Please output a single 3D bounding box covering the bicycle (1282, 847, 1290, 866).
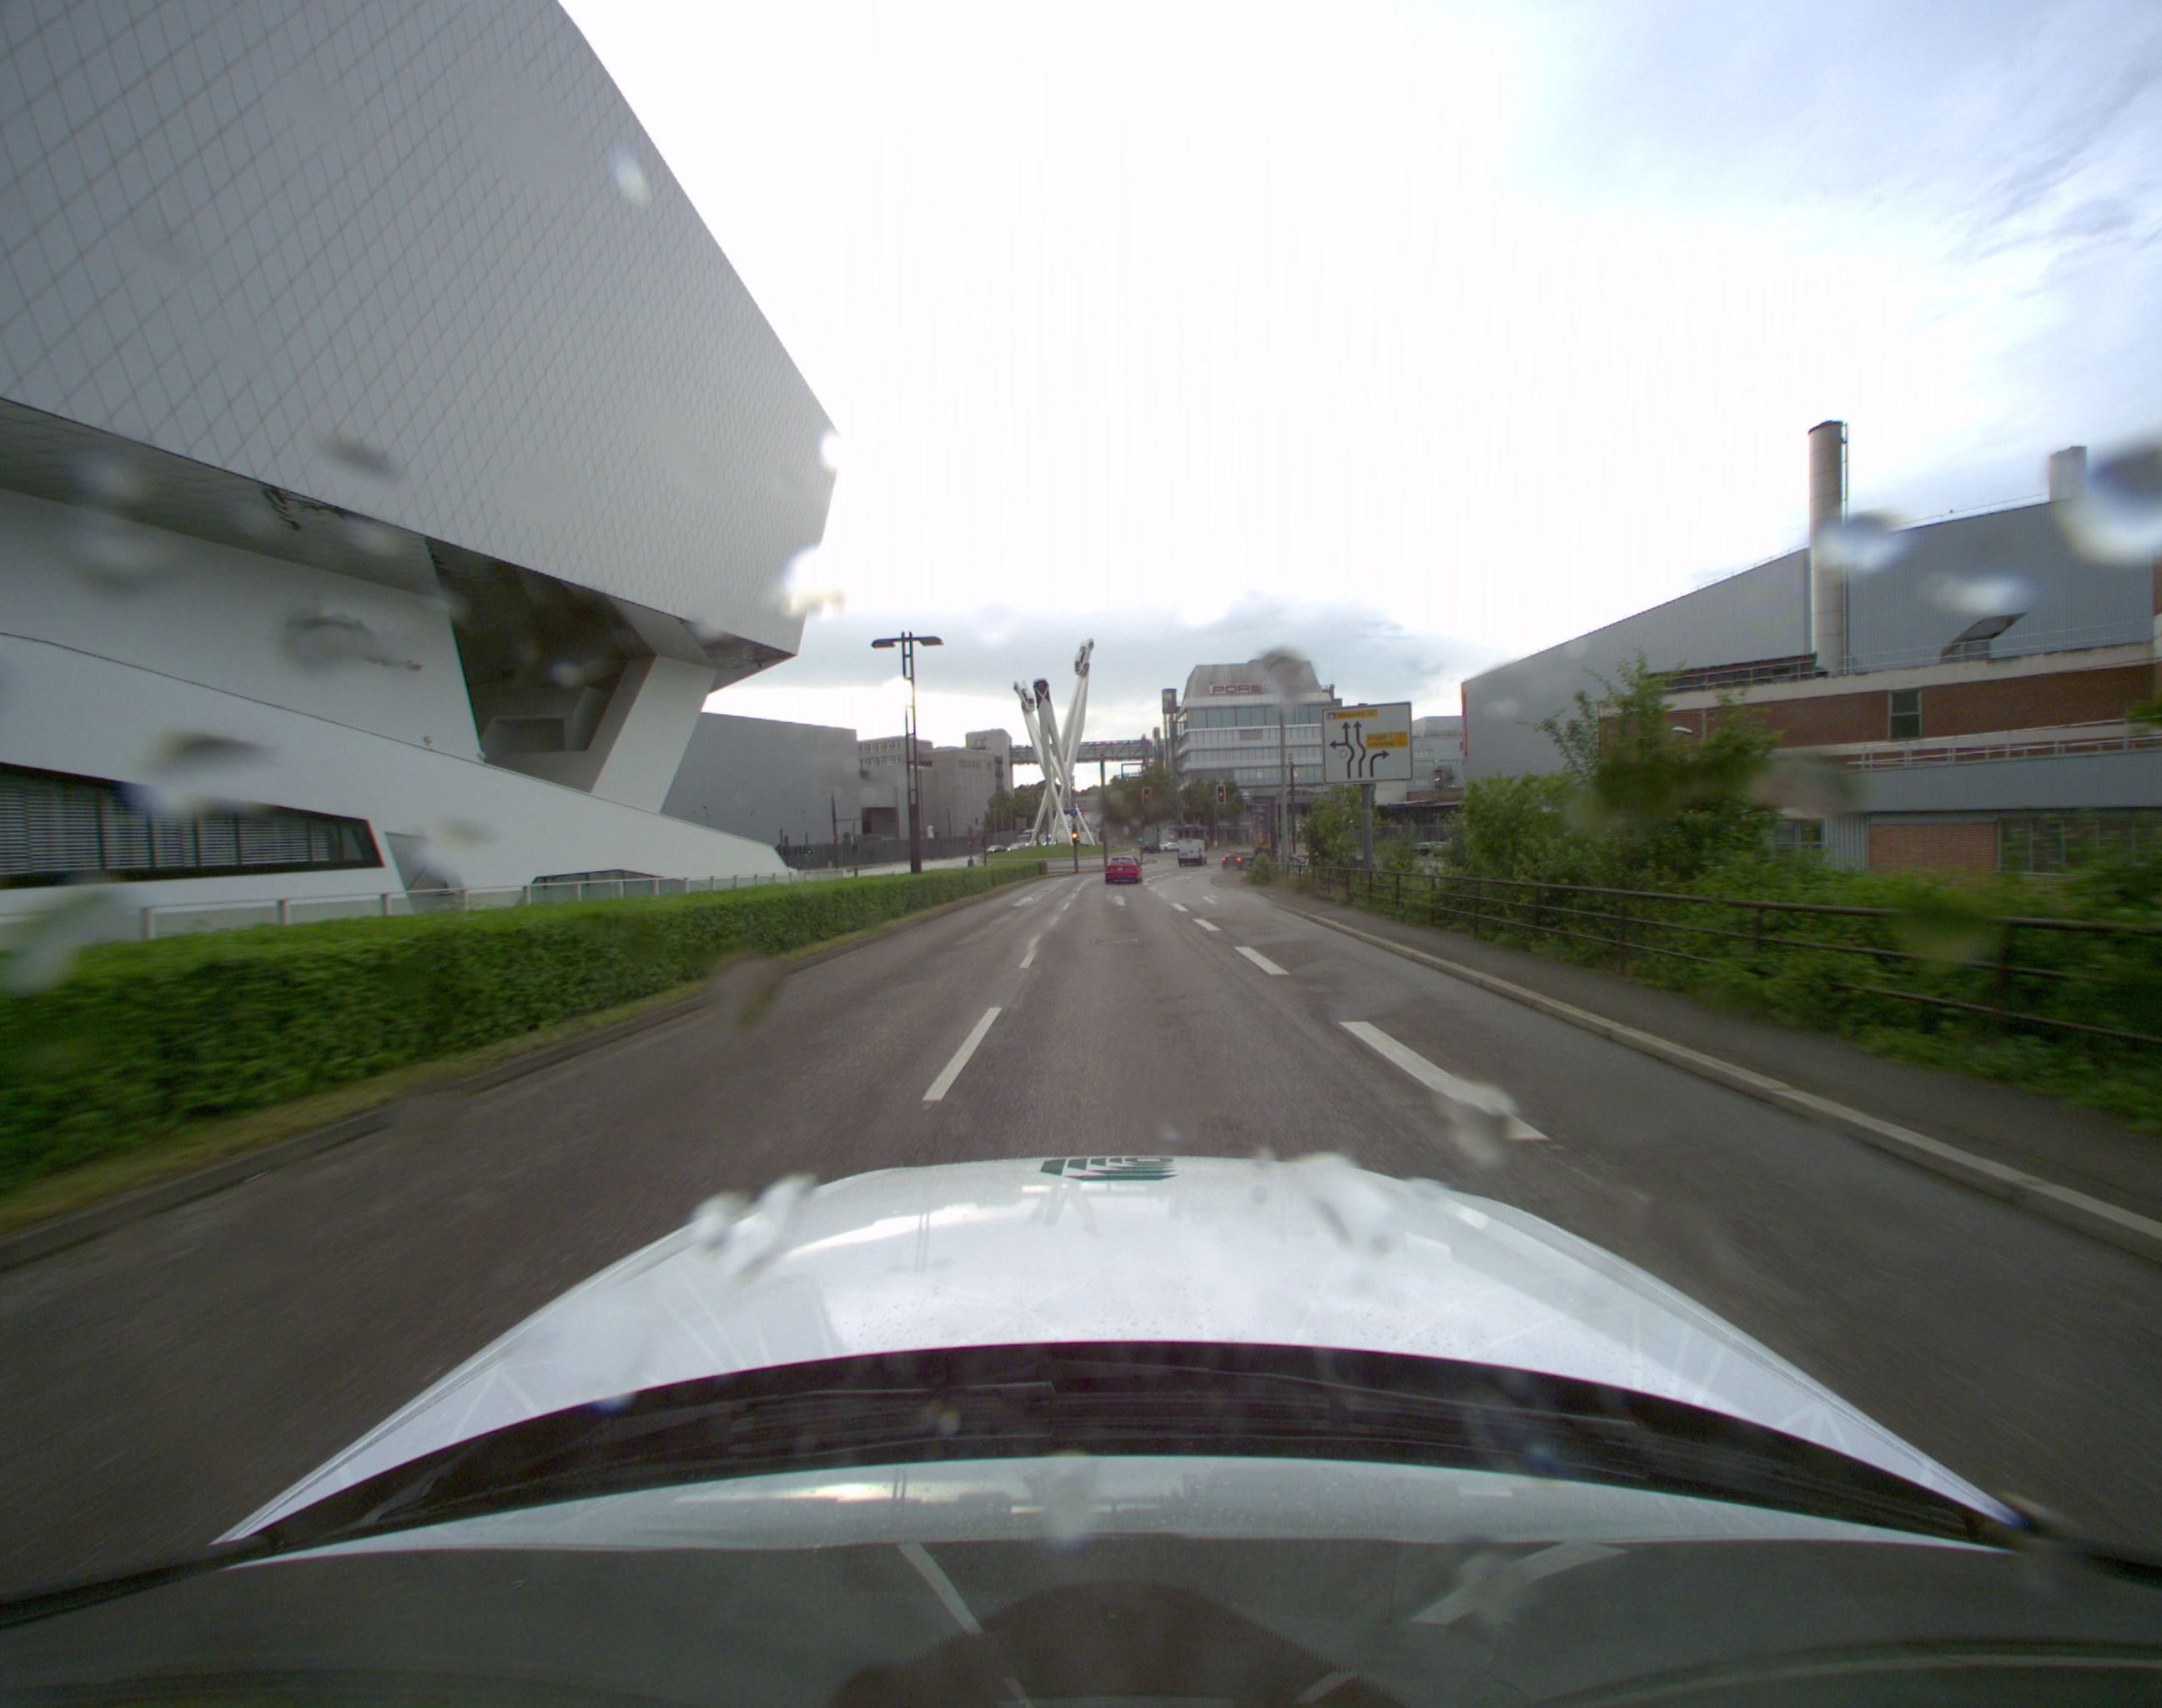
[{"bbox_3d":[13.299,0.154,52.732,0.382,1.162,2.009,-3,-1,16],"label":"bicycle"}]

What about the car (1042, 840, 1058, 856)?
[{"bbox_3d":[-4.822,-0.968,127.744,1.985,2.447,5.432,-3,1,3],"label":"car"}]

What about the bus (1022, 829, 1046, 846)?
[{"bbox_3d":[-9.207,-3.278,160.683,2.655,3.200,12.693,-2,1,6],"label":"bus"}]

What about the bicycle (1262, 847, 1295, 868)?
[{"bbox_3d":[11.839,0.217,48.774,1.792,1.161,0.593,-3,-1,4],"label":"bicycle"}]

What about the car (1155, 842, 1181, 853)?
[{"bbox_3d":[11.737,-0.820,109.731,1.676,1.301,3.852,-2,0,-26],"label":"car"}]

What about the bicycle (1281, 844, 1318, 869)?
[{"bbox_3d":[11.596,0.117,43.206,1.937,1.224,0.594,-3,0,-27],"label":"bicycle"}]

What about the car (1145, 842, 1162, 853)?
[{"bbox_3d":[9.517,-0.831,106.723,1.555,1.288,3.407,-2,0,-6],"label":"car"}]

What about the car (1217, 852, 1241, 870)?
[{"bbox_3d":[11.106,0.497,61.293,1.601,1.291,3.574,-2,0,7],"label":"car"}]

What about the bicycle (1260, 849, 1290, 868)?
[{"bbox_3d":[12.281,0.265,51.588,1.759,1.140,0.680,-3,-1,8],"label":"bicycle"}]

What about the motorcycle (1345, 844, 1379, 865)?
[{"bbox_3d":[20.397,0.025,59.049,2.208,1.452,0.761,-2,1,24],"label":"motorcycle"}]

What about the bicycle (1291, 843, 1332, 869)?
[{"bbox_3d":[11.740,0.097,41.550,1.929,1.178,0.596,-3,0,-14],"label":"bicycle"}]

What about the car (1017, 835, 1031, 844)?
[{"bbox_3d":[-10.089,-2.577,144.748,1.825,1.472,4.518,-3,1,4],"label":"car"}]

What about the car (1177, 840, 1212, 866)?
[{"bbox_3d":[10.053,-0.068,71.854,2.215,2.107,4.976,-3,-1,17],"label":"car"}]

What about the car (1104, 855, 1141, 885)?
[{"bbox_3d":[2.224,0.802,43.012,1.764,1.464,3.738,-2,0,5],"label":"car"}]

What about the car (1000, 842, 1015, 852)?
[{"bbox_3d":[-11.948,-1.124,132.610,1.825,1.472,4.518,-3,1,4],"label":"car"}]

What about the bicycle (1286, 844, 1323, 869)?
[{"bbox_3d":[11.654,0.135,42.469,1.938,1.224,0.594,-3,0,-29],"label":"bicycle"}]

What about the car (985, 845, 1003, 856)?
[{"bbox_3d":[-13.323,-0.569,124.865,1.825,1.472,4.518,-3,1,4],"label":"car"}]
